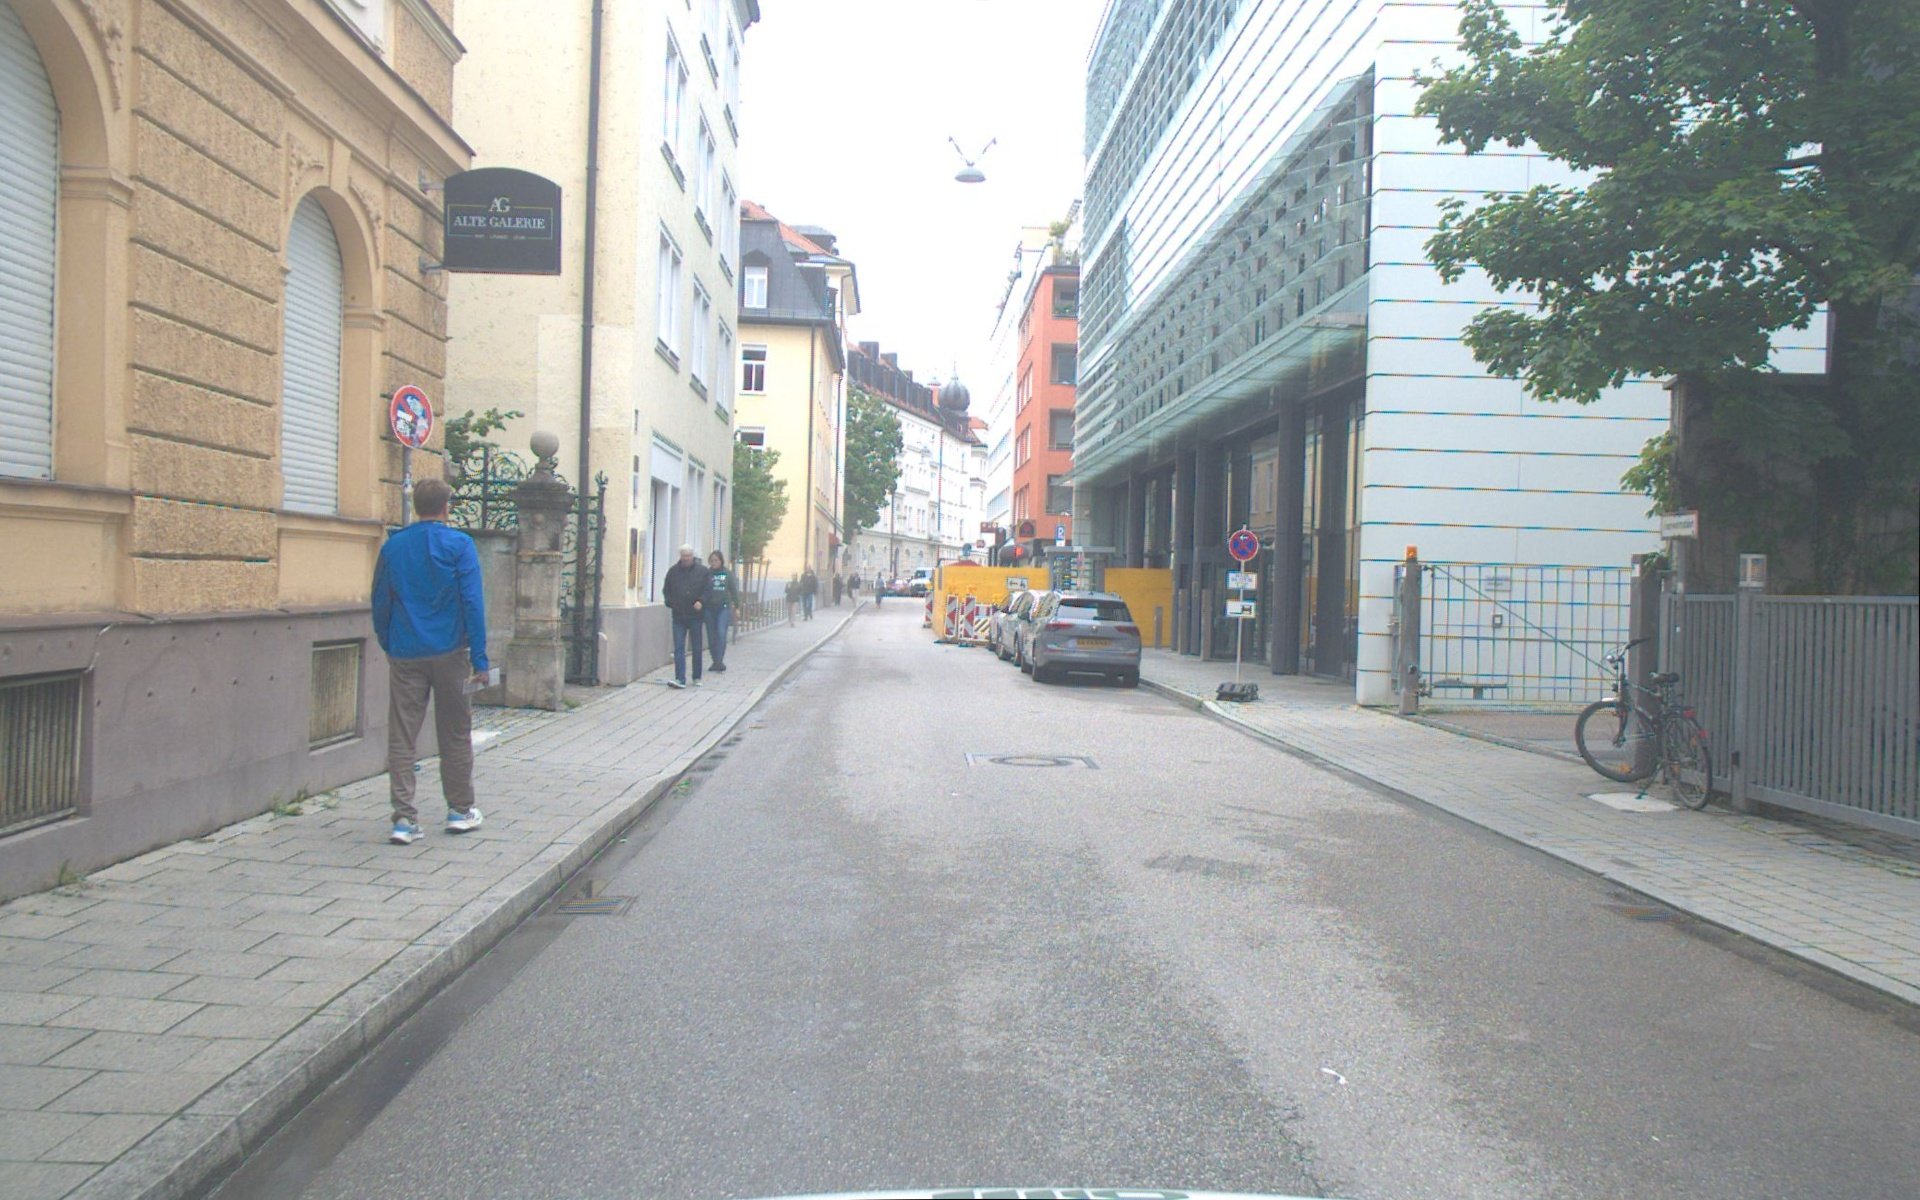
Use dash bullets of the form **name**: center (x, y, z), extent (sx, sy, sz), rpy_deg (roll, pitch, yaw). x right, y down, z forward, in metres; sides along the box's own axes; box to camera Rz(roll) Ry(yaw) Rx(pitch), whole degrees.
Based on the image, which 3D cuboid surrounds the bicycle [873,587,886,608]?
- **bicycle**: center (-4.170, -0.129, 86.192), extent (0.648, 1.057, 2.003), rpy_deg (1, 0, -3)

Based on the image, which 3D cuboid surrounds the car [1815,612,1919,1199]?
- **car**: center (3.060, 0.833, 1.654), extent (1.728, 1.472, 4.291), rpy_deg (3, 0, -8)

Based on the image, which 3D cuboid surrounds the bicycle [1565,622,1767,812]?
- **bicycle**: center (5.405, 0.855, 12.800), extent (0.693, 1.219, 1.834), rpy_deg (1, 3, -2)

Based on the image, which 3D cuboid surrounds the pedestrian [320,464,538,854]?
- **pedestrian**: center (-2.753, 0.290, 8.694), extent (0.742, 1.887, 1.076), rpy_deg (3, 0, -3)

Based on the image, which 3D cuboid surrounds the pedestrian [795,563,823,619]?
- **pedestrian**: center (-5.259, -0.306, 57.641), extent (0.850, 1.914, 1.134), rpy_deg (2, 0, -4)

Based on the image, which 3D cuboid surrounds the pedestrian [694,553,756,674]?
- **pedestrian**: center (-3.438, 0.191, 24.288), extent (0.698, 1.694, 0.929), rpy_deg (4, 0, -3)

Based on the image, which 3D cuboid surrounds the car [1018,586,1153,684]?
- **car**: center (2.008, 0.528, 27.653), extent (1.674, 1.457, 4.327), rpy_deg (2, 0, -3)

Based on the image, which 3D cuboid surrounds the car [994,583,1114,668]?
- **car**: center (1.801, 0.457, 32.941), extent (1.674, 1.493, 4.232), rpy_deg (3, 0, -6)

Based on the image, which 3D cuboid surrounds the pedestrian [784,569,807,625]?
- **pedestrian**: center (-5.108, -0.108, 51.384), extent (0.634, 1.705, 0.723), rpy_deg (2, 0, -4)

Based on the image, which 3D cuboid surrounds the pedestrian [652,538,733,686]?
- **pedestrian**: center (-3.460, 0.149, 21.458), extent (0.887, 1.859, 0.955), rpy_deg (2, 0, -4)

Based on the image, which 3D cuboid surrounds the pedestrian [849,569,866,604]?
- **pedestrian**: center (-5.232, -0.693, 84.564), extent (0.822, 1.730, 0.802), rpy_deg (2, 0, -3)

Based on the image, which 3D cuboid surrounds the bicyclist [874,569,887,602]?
- **bicyclist**: center (-4.150, -0.751, 86.138), extent (0.646, 1.671, 0.895), rpy_deg (1, 0, -3)

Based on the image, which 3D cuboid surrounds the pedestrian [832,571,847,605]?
- **pedestrian**: center (-6.173, -0.609, 84.713), extent (0.657, 1.676, 0.761), rpy_deg (2, 0, -3)

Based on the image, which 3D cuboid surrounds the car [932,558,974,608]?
- **car**: center (-0.431, -0.947, 90.153), extent (1.954, 2.581, 4.972), rpy_deg (2, 1, -3)
